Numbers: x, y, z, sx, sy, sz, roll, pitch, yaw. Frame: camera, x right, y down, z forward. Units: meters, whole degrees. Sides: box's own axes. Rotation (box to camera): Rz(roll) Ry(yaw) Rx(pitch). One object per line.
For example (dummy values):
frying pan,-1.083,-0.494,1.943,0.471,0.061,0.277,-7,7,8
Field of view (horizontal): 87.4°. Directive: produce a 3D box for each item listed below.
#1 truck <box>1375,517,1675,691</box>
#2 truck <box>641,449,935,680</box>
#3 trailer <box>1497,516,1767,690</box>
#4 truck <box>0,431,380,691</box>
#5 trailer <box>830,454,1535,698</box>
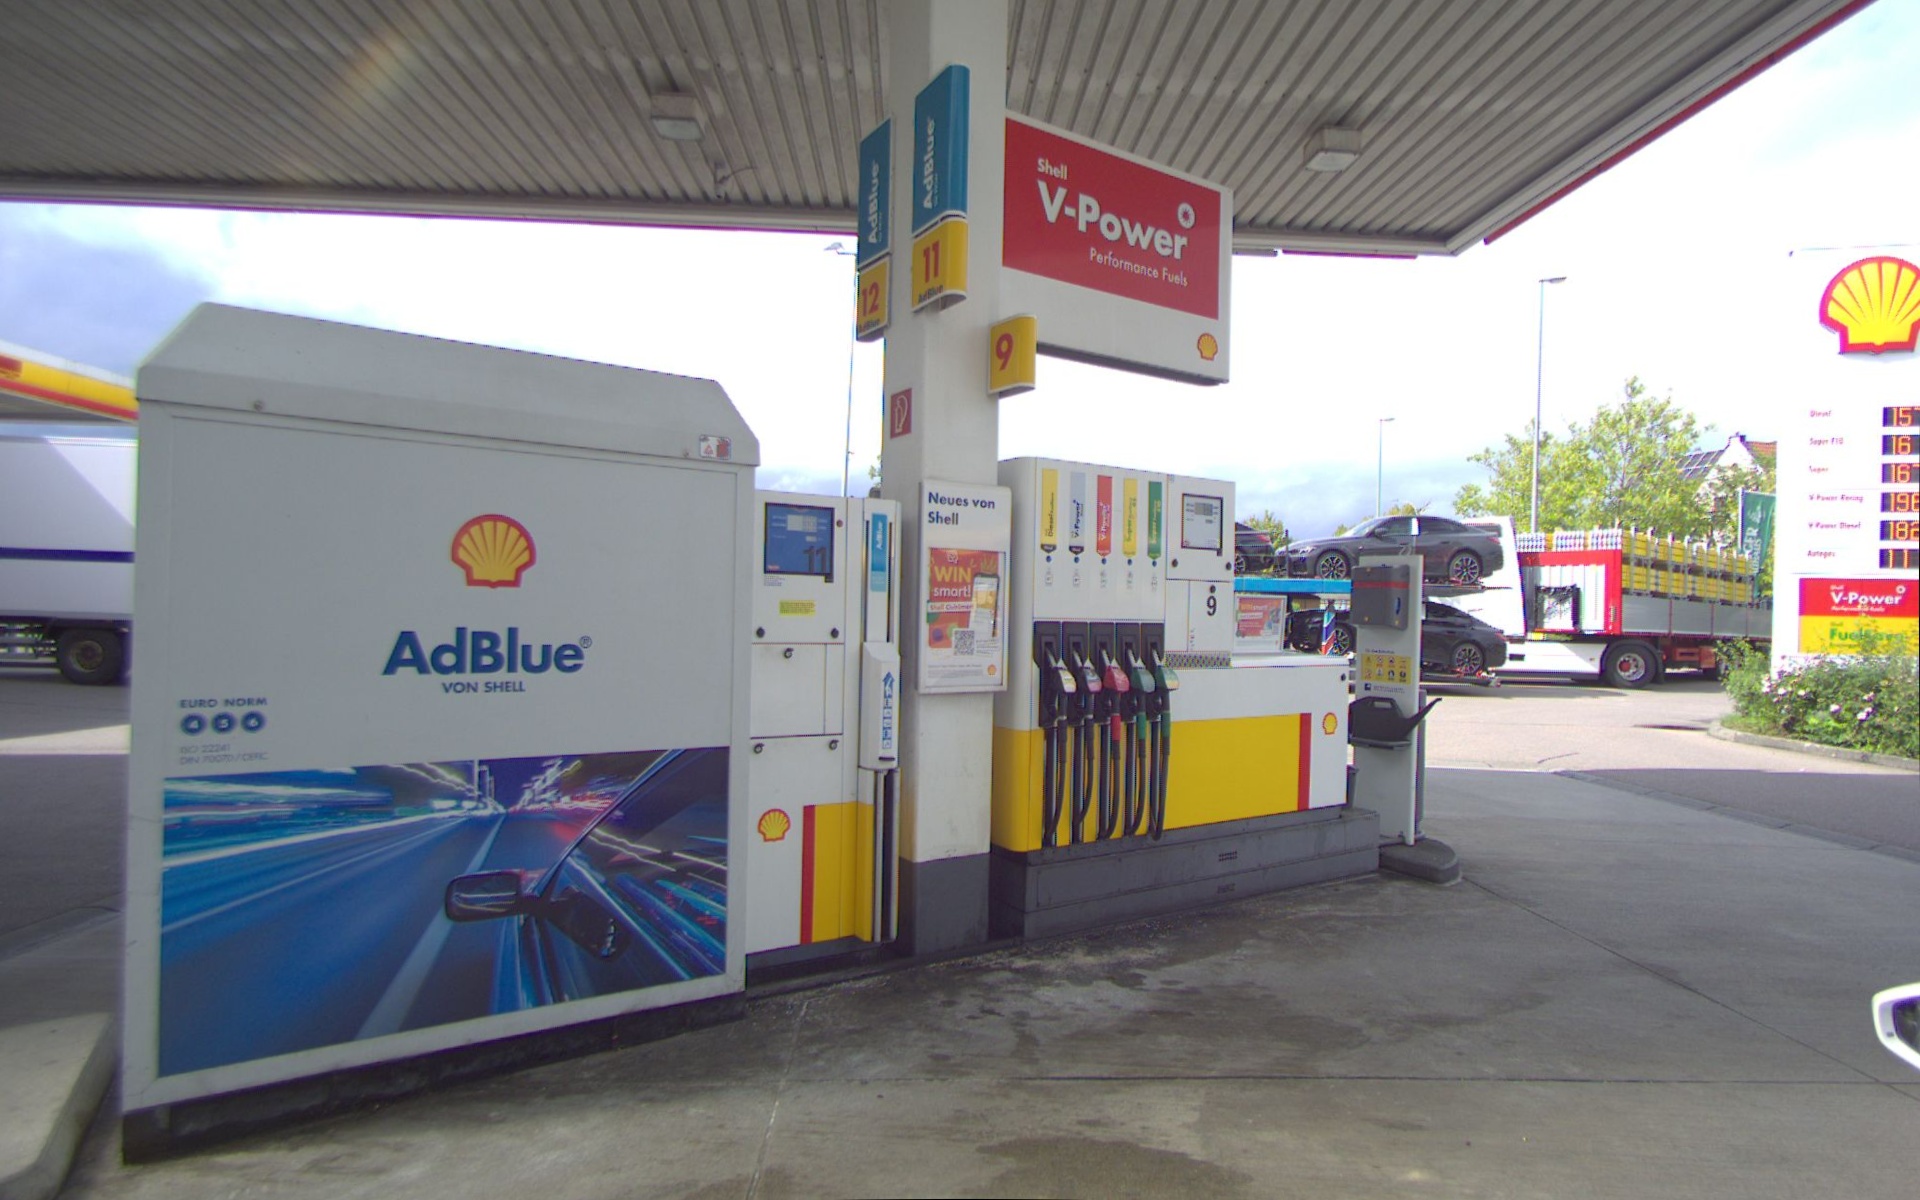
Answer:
truck,13.631,0.048,24.752,5.798,3.897,2.743,2,0,13
truck,-3.480,-0.705,21.549,5.713,4.479,2.750,2,0,0
trailer,18.645,0.214,27.270,12.610,3.826,2.707,2,0,-40
truck,-17.331,-0.740,17.504,12.654,4.092,2.534,2,0,-3
trailer,4.496,-0.469,21.588,14.077,4.481,2.746,2,0,0
